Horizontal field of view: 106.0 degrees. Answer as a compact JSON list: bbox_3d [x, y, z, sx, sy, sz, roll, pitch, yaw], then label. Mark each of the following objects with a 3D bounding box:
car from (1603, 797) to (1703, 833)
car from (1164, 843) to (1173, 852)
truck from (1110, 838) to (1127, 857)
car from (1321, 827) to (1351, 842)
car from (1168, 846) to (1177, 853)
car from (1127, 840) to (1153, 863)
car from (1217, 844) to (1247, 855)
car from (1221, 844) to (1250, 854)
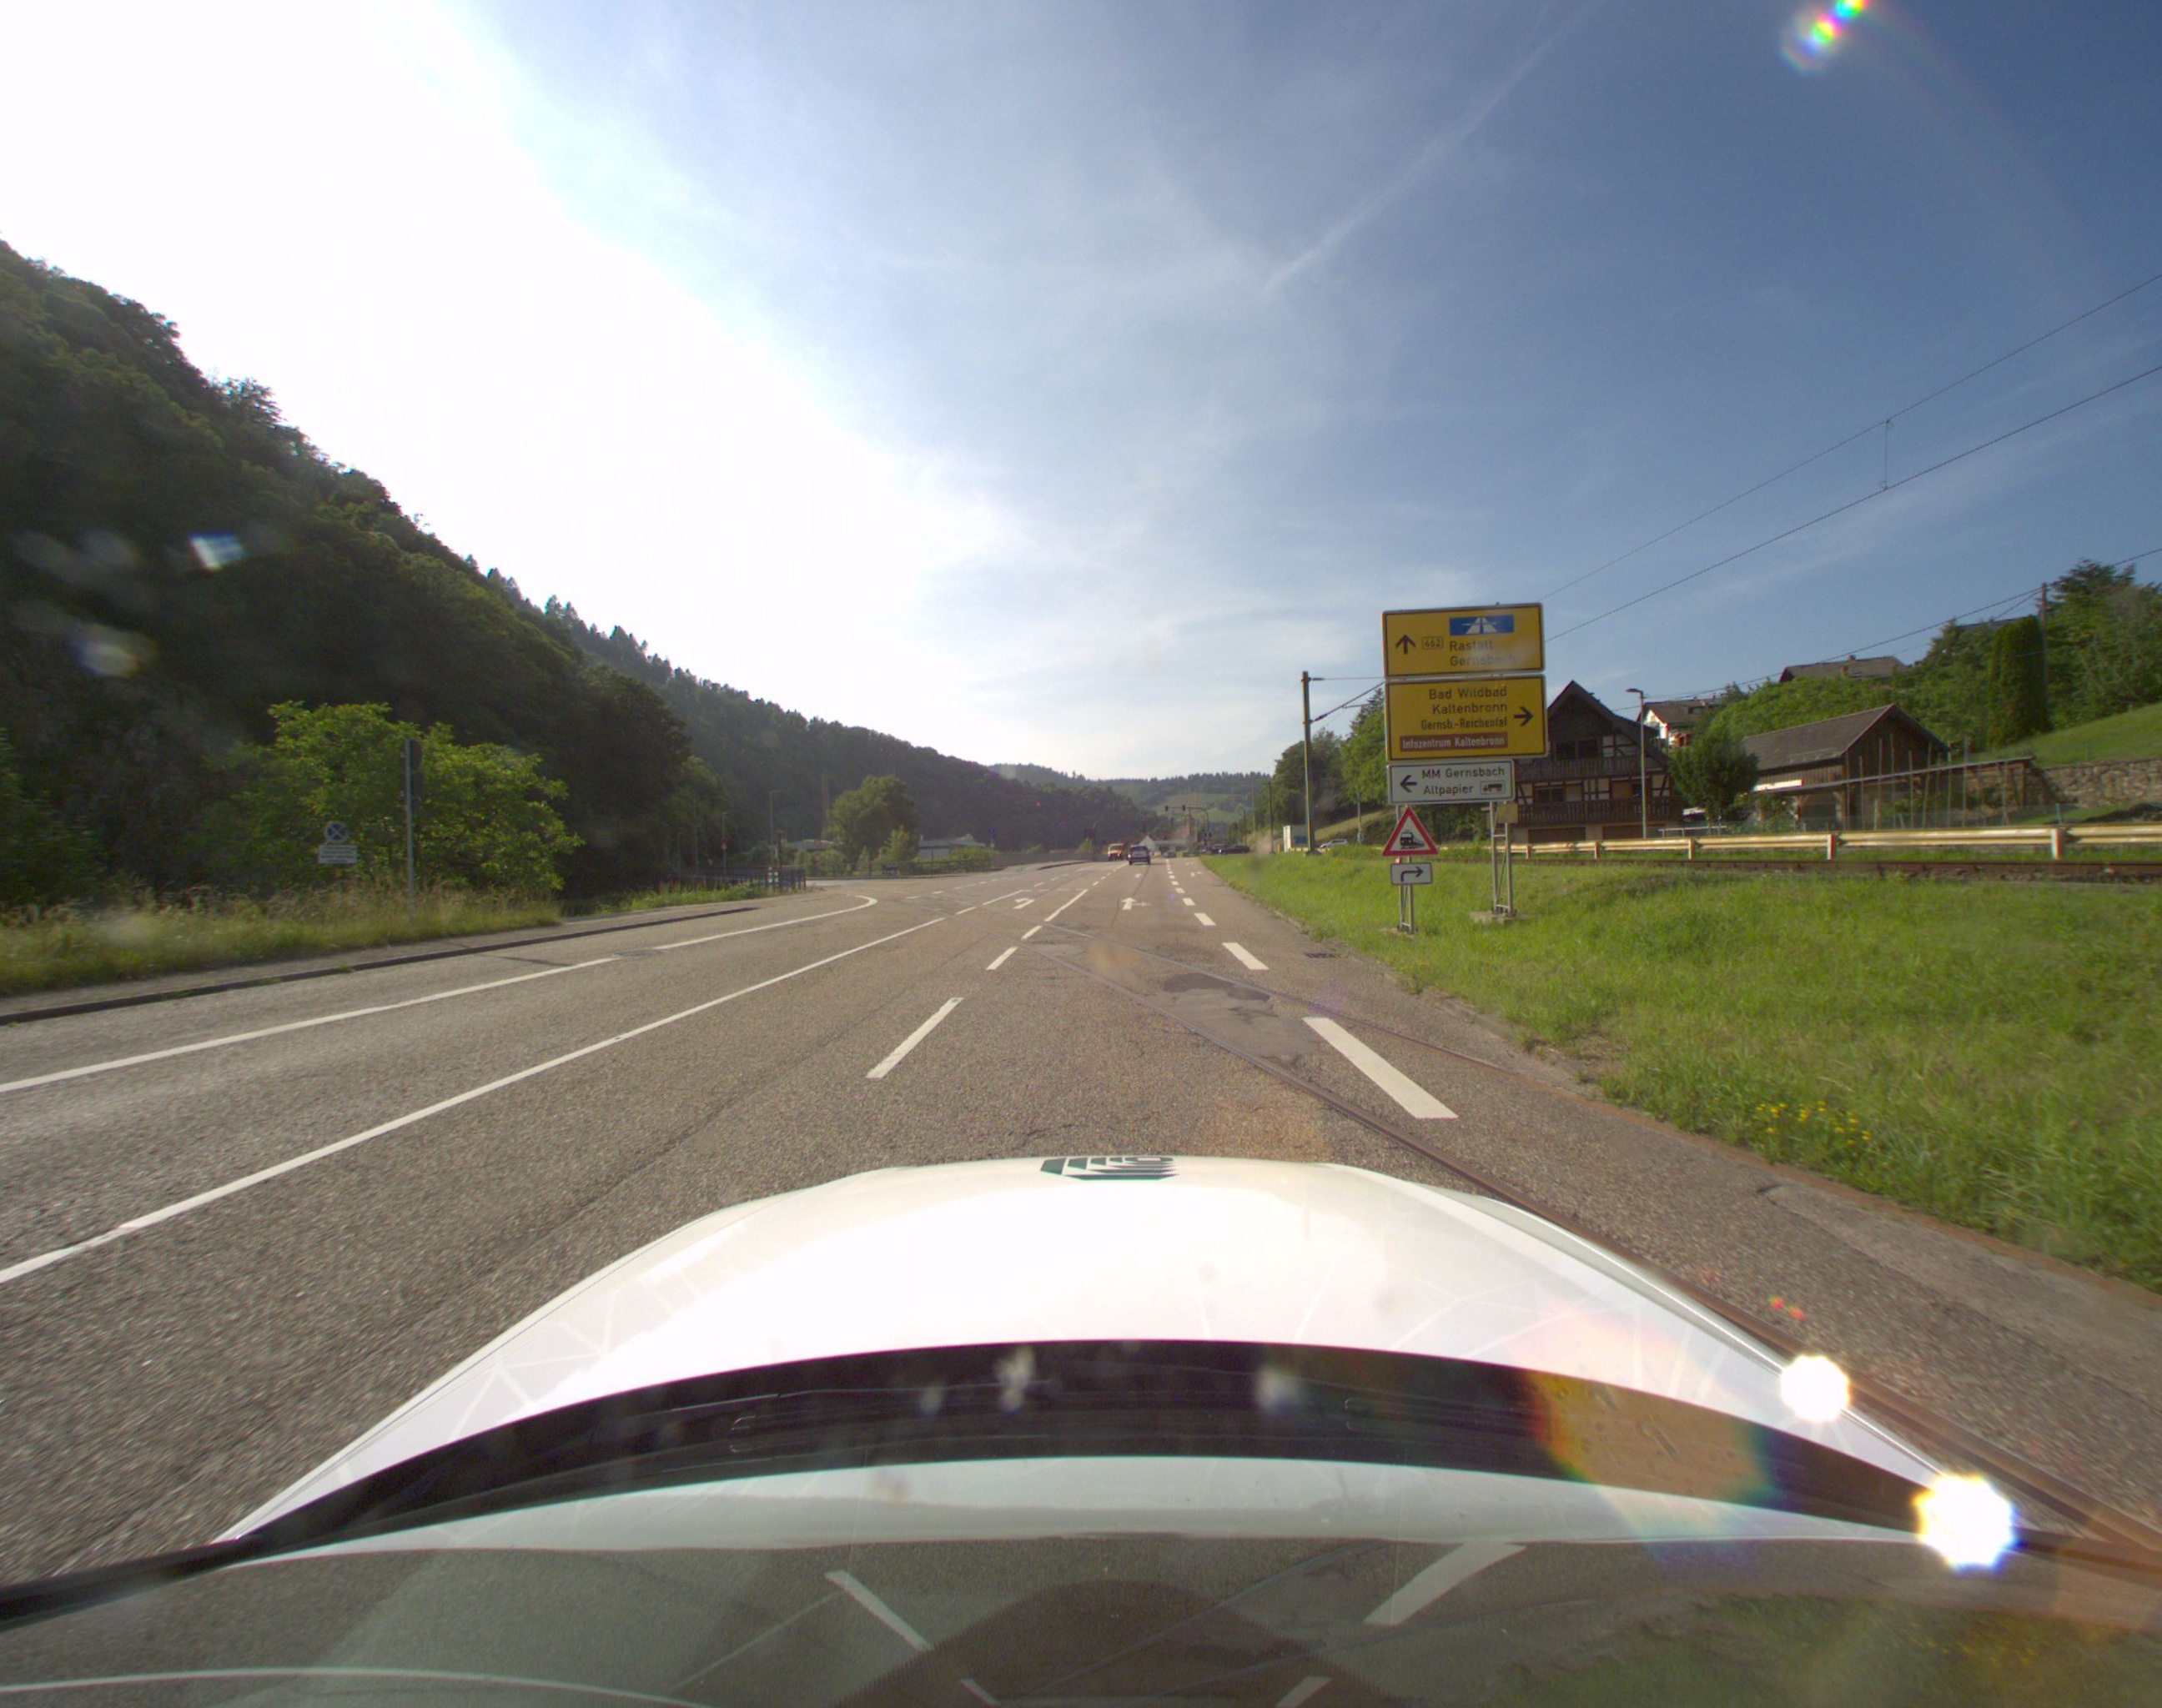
[{"bbox_3d":[45.673,-3.070,65.217,2.392,2.330,5.973,-4,0,-32],"label":"car"},{"bbox_3d":[19.909,-1.444,185.041,1.984,2.013,4.006,-3,1,5],"label":"car"},{"bbox_3d":[5.065,-0.915,109.847,1.984,2.343,5.707,-2,1,5],"label":"truck"},{"bbox_3d":[36.443,-2.799,116.556,3.953,1.881,1.887,-2,1,20],"label":"car"},{"bbox_3d":[22.323,-1.124,198.701,1.984,1.618,4.006,-3,1,5],"label":"car"},{"bbox_3d":[4.944,-0.235,68.385,1.985,1.723,3.994,-4,0,3],"label":"car"},{"bbox_3d":[21.858,-0.631,118.134,3.953,1.354,1.887,-2,1,20],"label":"car"},{"bbox_3d":[22.899,-0.714,120.542,3.953,1.354,1.887,-2,1,20],"label":"car"}]
